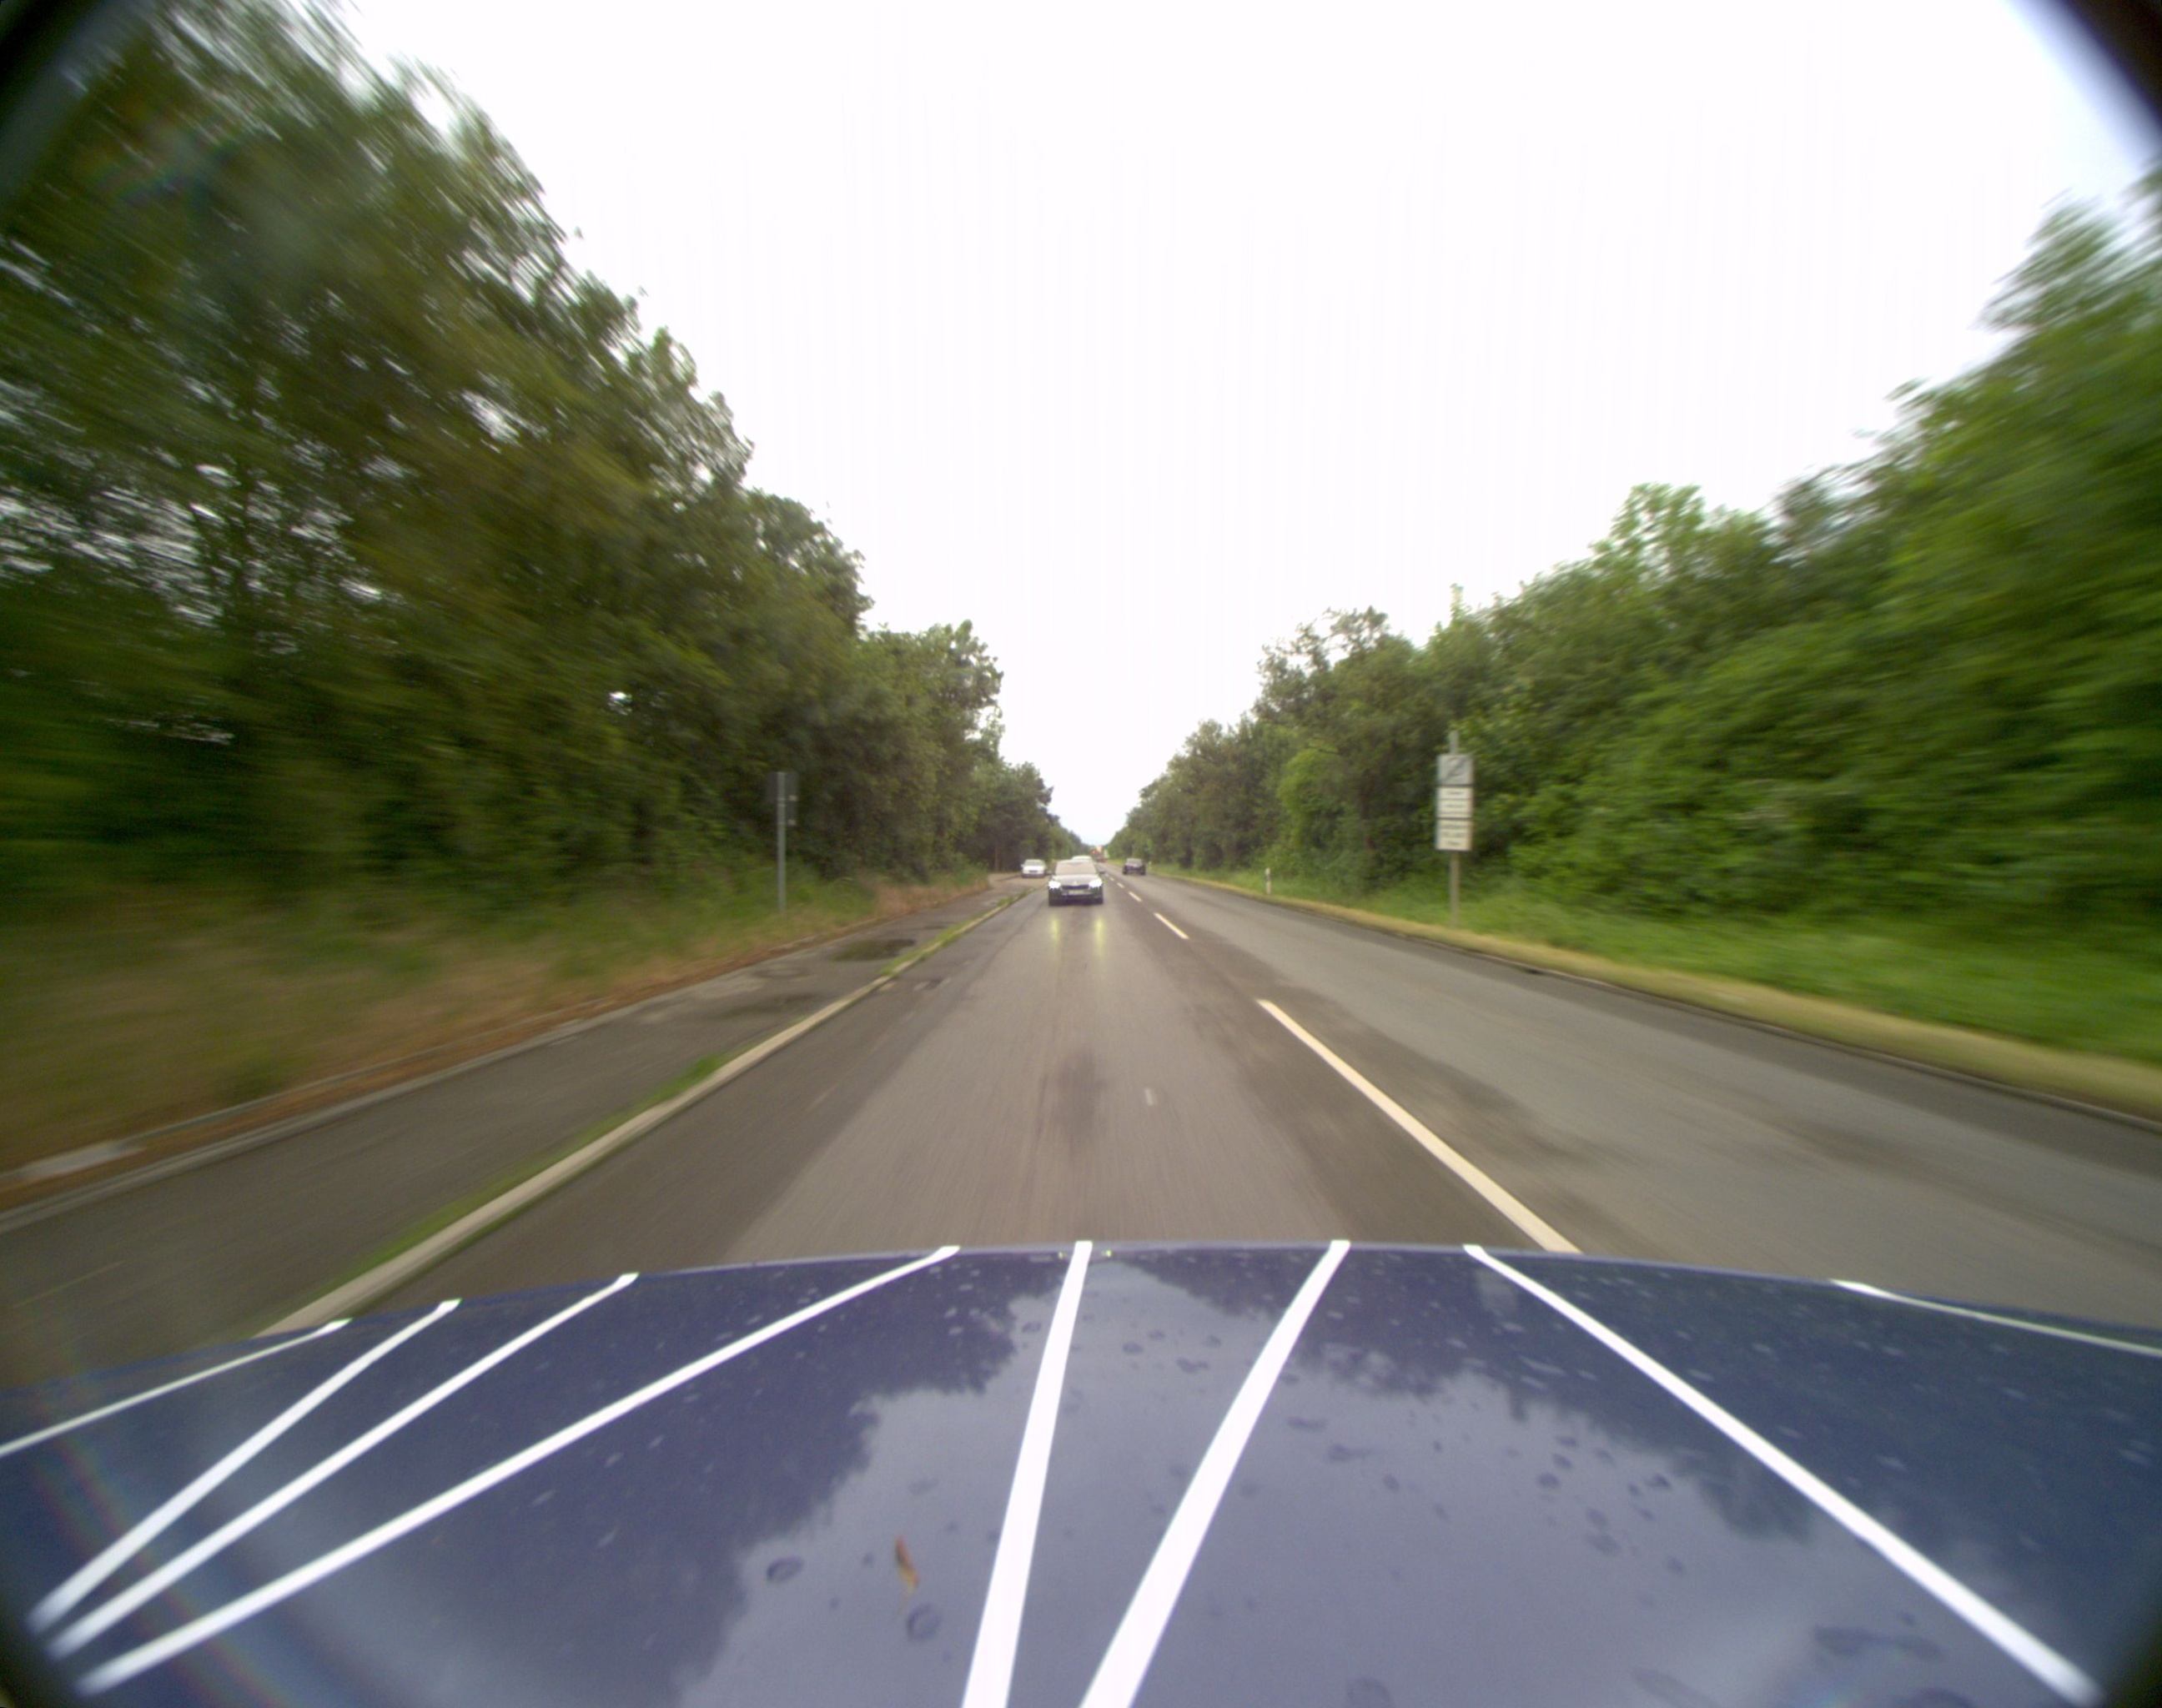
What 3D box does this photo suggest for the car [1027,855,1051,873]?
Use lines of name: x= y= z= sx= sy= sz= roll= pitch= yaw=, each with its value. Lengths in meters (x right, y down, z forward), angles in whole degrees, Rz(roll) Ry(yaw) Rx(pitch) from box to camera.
car: x=-3.611 y=0.841 z=66.462 sx=1.810 sy=1.501 sz=4.667 roll=1 pitch=1 yaw=0

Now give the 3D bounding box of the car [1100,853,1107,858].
car: x=6.684 y=0.356 z=225.917 sx=1.793 sy=1.465 sz=3.623 roll=1 pitch=1 yaw=0

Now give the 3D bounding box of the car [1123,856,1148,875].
car: x=4.814 y=1.010 z=67.366 sx=1.876 sy=1.480 sz=4.573 roll=2 pitch=1 yaw=0

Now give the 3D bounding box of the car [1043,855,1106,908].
car: x=-0.190 y=0.856 z=25.937 sx=1.915 sy=1.543 sz=4.354 roll=-3 pitch=1 yaw=0

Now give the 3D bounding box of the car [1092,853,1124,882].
car: x=1.744 y=0.844 z=49.675 sx=1.915 sy=1.690 sz=3.913 roll=-3 pitch=1 yaw=0

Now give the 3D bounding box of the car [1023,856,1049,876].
car: x=-3.513 y=0.939 z=60.570 sx=1.749 sy=1.460 sz=4.220 roll=1 pitch=1 yaw=1

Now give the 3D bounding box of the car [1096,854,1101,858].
car: x=5.922 y=0.652 z=259.198 sx=1.793 sy=1.465 sz=3.623 roll=1 pitch=1 yaw=0
